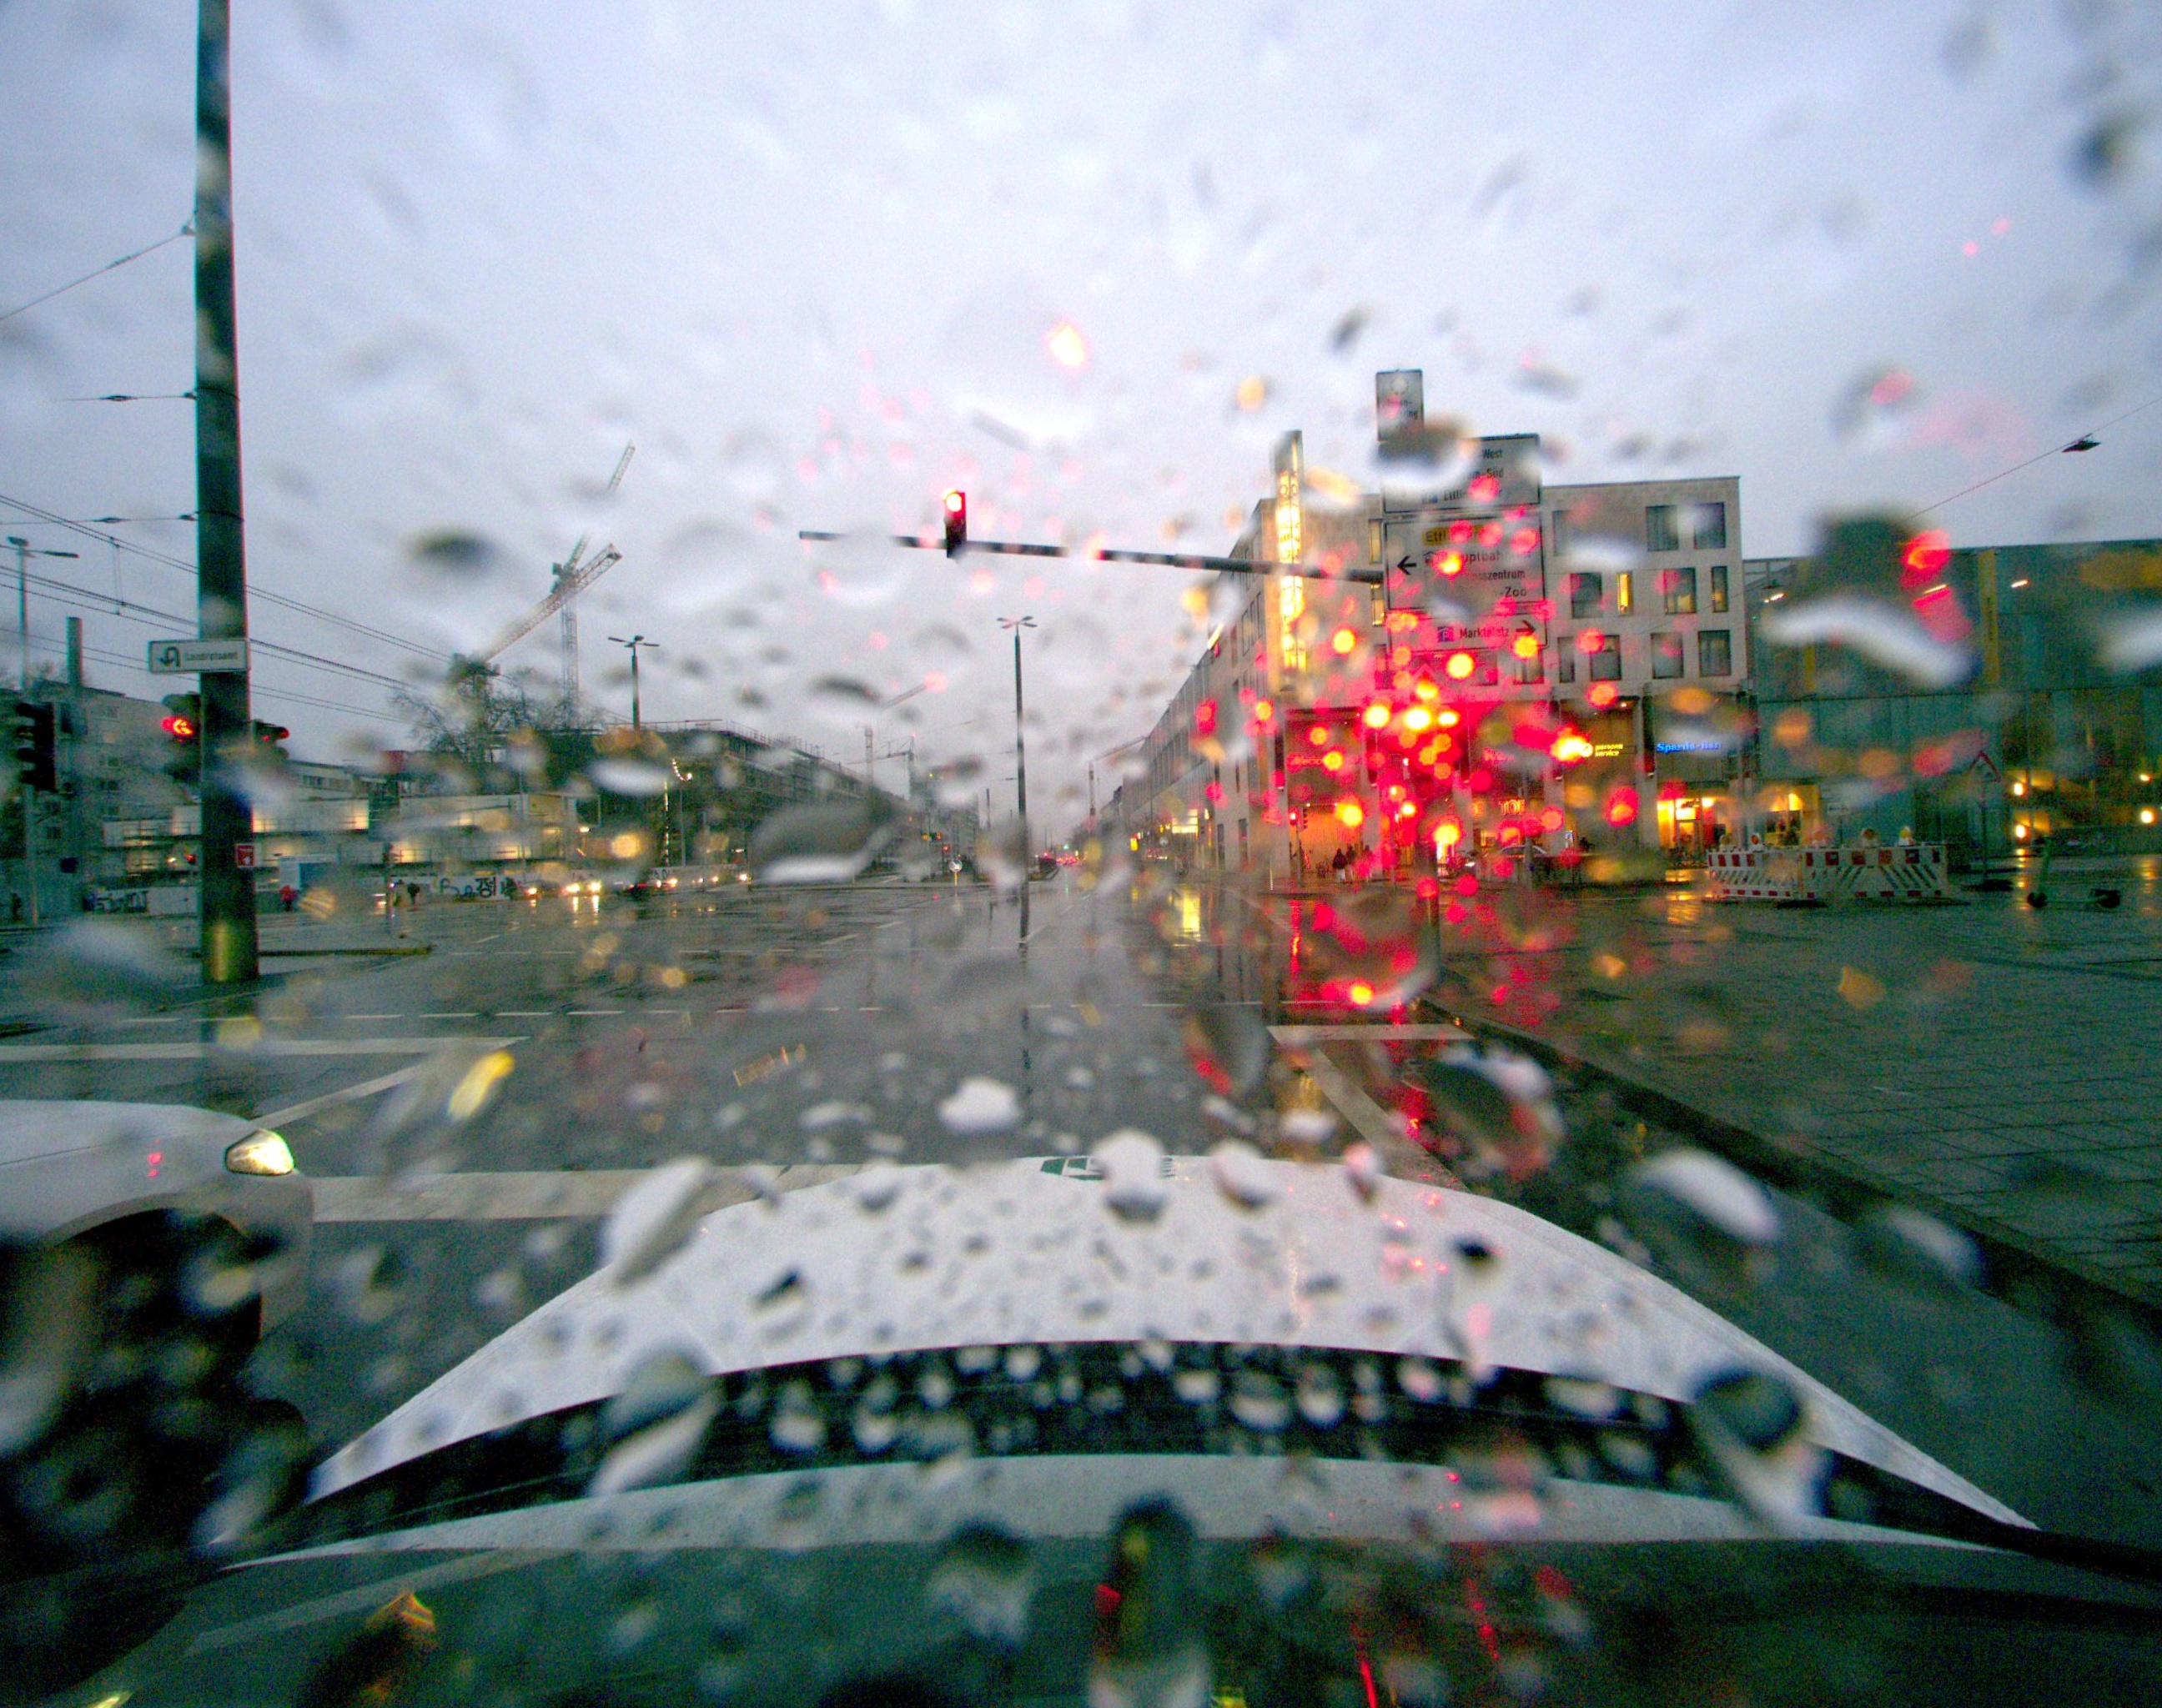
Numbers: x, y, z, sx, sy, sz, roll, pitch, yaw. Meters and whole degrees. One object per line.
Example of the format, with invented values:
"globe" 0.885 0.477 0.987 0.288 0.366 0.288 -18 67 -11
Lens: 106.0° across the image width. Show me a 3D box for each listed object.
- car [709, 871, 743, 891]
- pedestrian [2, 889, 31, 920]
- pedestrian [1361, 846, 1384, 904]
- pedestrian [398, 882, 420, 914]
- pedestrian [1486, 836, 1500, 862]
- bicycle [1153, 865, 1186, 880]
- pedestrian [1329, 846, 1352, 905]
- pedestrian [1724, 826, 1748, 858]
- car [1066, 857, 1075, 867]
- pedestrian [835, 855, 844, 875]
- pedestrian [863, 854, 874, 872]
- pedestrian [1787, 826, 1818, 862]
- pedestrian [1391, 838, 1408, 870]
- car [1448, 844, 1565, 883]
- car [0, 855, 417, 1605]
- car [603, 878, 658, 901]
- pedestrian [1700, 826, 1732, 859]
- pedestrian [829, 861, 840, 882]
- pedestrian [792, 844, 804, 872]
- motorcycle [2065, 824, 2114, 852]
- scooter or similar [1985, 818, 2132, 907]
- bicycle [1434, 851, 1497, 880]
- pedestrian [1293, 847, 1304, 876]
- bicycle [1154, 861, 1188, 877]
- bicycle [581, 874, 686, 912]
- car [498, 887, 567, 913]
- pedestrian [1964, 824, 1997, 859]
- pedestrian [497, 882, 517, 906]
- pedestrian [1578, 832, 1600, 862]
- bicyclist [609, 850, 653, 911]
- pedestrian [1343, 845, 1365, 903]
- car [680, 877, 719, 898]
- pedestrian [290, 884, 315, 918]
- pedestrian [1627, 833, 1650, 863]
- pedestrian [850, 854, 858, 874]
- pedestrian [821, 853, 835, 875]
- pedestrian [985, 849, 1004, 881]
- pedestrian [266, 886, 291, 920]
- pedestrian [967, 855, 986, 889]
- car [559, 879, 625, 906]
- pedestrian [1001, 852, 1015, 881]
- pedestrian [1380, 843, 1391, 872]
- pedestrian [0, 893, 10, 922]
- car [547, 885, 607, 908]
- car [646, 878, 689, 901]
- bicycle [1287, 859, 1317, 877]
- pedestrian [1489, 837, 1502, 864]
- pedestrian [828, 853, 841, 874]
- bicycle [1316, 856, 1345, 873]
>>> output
"car" -35.421 2.676 81.367 1.990 1.790 3.993 0 -1 -5
"pedestrian" -67.364 3.173 51.543 0.788 1.902 0.717 -2 -1 0
"pedestrian" 12.354 0.880 34.536 0.691 2.448 0.792 0 -1 1
"pedestrian" -46.267 3.046 56.041 0.872 2.165 0.763 0 -1 -7
"pedestrian" 28.048 -0.359 55.439 0.728 1.718 0.743 -3 -1 29
"bicycle" 6.775 1.412 62.442 2.417 1.099 0.712 -2 -1 0
"pedestrian" 10.811 0.887 33.970 0.712 2.441 0.758 0 -1 1
"pedestrian" 36.438 -0.644 45.318 0.782 1.739 0.779 -3 -1 17
"car" -2.075 1.544 163.623 1.572 2.013 3.170 -2 0 0
"pedestrian" -23.104 1.032 77.834 0.696 1.881 0.553 0 -1 1
"pedestrian" -23.920 1.057 91.842 0.939 2.014 1.094 0 -1 -1
"pedestrian" 33.785 -0.449 38.145 0.737 1.684 0.783 -1 -1 8
"pedestrian" 20.484 -0.011 52.440 0.841 2.013 0.700 -2 0 10
"car" 17.996 0.402 34.595 3.970 1.618 2.001 0 -1 3
"car" -3.197 0.777 0.328 2.010 1.487 4.561 -2 0 1
"car" -34.283 2.647 62.066 2.074 1.530 4.603 -2 0 -8
"pedestrian" 33.126 -0.590 42.513 1.026 1.684 0.824 0 -1 1
"pedestrian" -22.761 1.590 75.153 0.762 1.898 0.763 0 -2 1
"pedestrian" -24.127 0.365 69.455 0.762 2.323 0.763 0 -2 1
"motorcycle" 48.239 -0.759 38.951 1.482 1.352 0.595 0 0 5
"scooter or similar" 15.685 0.125 13.124 0.590 1.352 1.495 0 0 2
"bicycle" 19.248 0.579 40.779 2.705 1.359 0.957 -2 -1 -2
"pedestrian" 13.308 0.455 49.822 0.596 1.745 0.526 -1 -1 10
"bicycle" 6.816 1.146 61.603 2.434 1.154 0.674 -2 -1 0
"bicycle" -14.026 1.193 25.658 2.871 1.099 0.739 0 -1 -27
"car" -38.345 3.165 57.026 1.986 1.530 4.001 -2 0 2
"pedestrian" 44.114 -0.623 39.954 0.737 1.684 0.783 -1 -1 8
"pedestrian" -33.538 2.340 47.595 0.721 1.388 0.729 -1 -1 30
"pedestrian" 29.367 -0.408 47.088 0.890 1.684 0.528 -2 -1 1
"bicyclist" -14.132 0.806 25.606 1.162 1.871 0.739 0 -1 -27
"pedestrian" 11.598 0.856 34.577 0.687 2.441 0.758 0 -1 1
"car" -35.441 3.130 75.797 1.990 1.790 3.993 0 -1 -5
"pedestrian" -47.325 2.831 49.535 0.781 2.014 0.748 0 -1 6
"pedestrian" 31.103 -0.332 45.445 0.737 1.684 0.783 -1 -1 8
"pedestrian" -22.731 1.035 81.521 0.569 1.968 0.664 1 -1 -4
"pedestrian" -24.133 0.943 77.654 0.939 2.014 1.094 0 -1 -1
"pedestrian" -4.963 0.642 46.702 0.826 1.831 0.778 0 -1 -29
"pedestrian" -47.884 2.922 48.595 0.861 2.014 0.624 0 -1 -6
"pedestrian" -6.133 1.043 47.746 0.776 2.014 0.732 -1 -1 44
"car" -33.677 2.614 56.238 1.986 1.657 4.001 -2 0 2
"pedestrian" -4.315 0.727 48.227 0.605 1.686 0.581 -1 -1 44
"pedestrian" 17.815 0.225 47.659 0.480 1.663 0.460 -3 -1 32
"pedestrian" -67.565 3.337 50.705 0.786 1.776 0.726 -2 -1 8
"car" -39.009 3.301 63.149 1.986 1.530 4.001 -2 0 2
"car" -34.808 2.955 68.600 1.862 1.828 3.993 0 -1 -5
"bicycle" 13.683 0.849 50.436 1.766 1.070 0.523 0 -1 -8
"pedestrian" 26.826 -0.228 52.679 0.613 1.685 0.366 -2 -1 -2
"pedestrian" -24.059 0.958 79.546 0.939 2.014 1.094 0 -1 -1
"bicycle" 15.515 0.657 50.580 1.642 1.070 0.524 0 -1 -2
